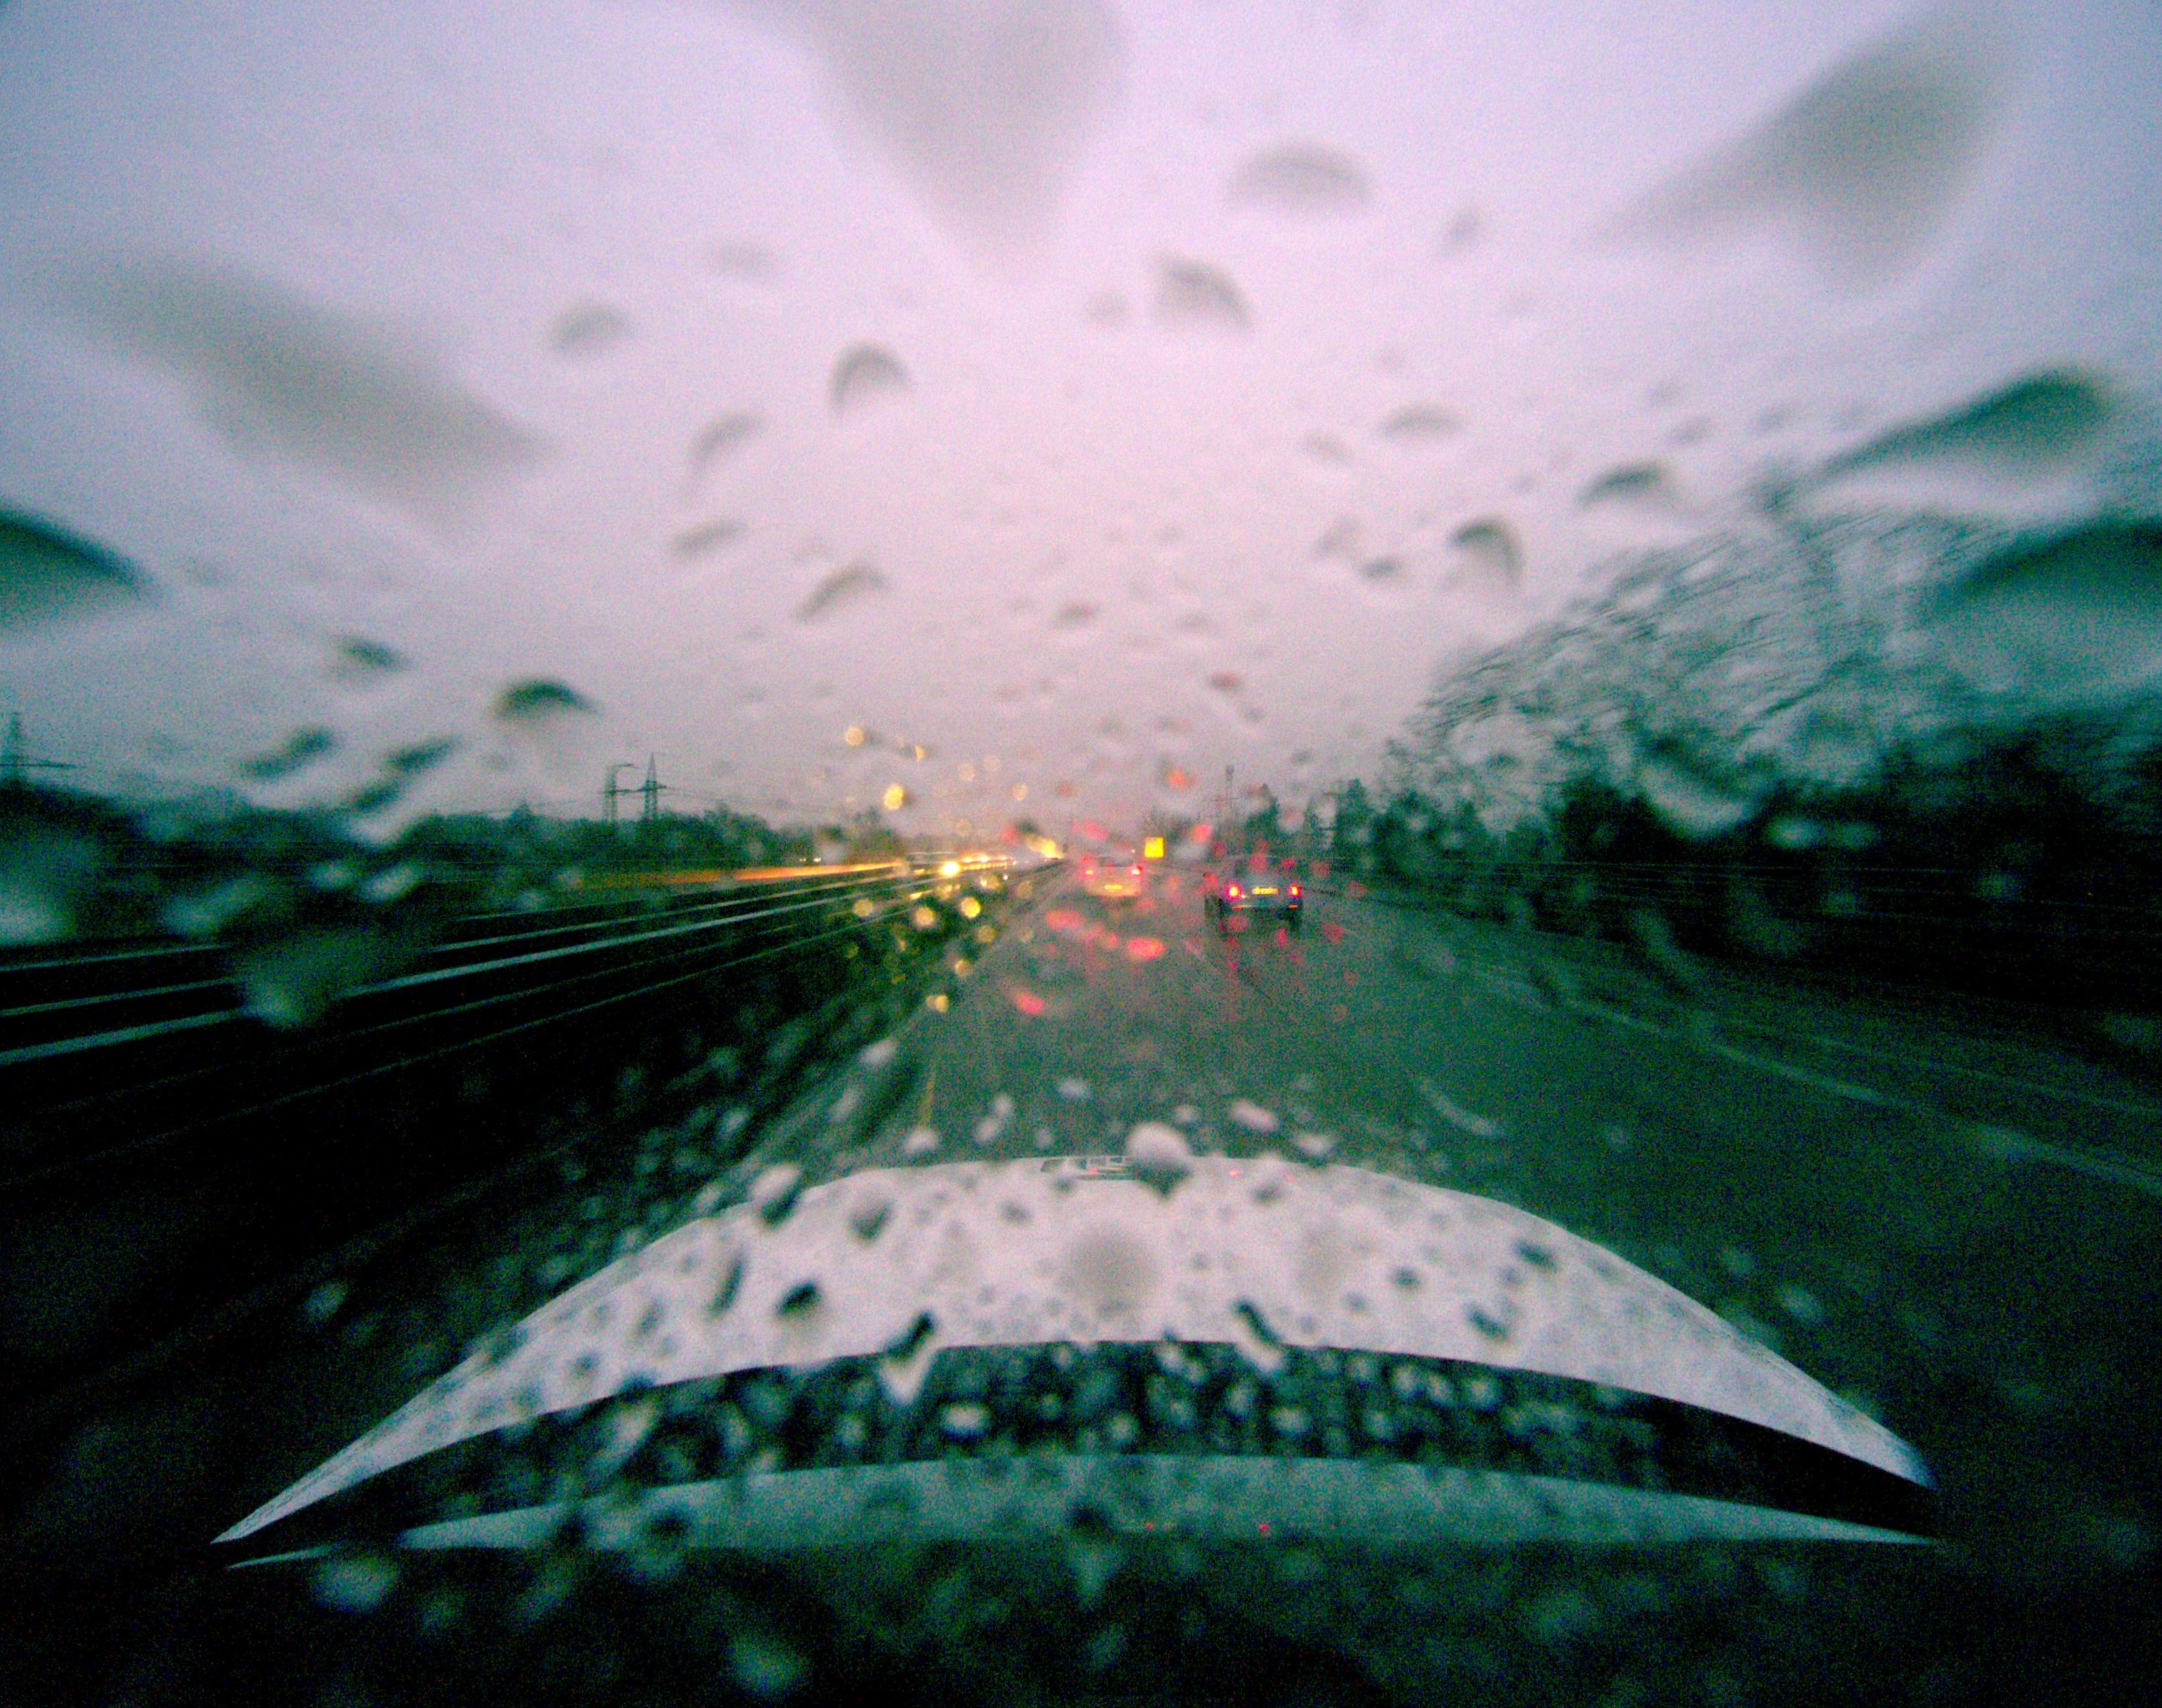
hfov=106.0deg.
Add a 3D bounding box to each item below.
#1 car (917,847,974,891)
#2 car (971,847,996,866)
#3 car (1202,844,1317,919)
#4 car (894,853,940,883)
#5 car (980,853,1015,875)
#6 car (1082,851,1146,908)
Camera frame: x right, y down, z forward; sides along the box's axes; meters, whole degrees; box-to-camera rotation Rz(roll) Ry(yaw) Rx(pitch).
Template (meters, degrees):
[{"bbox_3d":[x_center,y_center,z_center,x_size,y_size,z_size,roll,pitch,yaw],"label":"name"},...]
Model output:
[{"bbox_3d":[-6.615,0.668,40.143,1.957,2.053,4.375,0,0,2],"label":"car"},{"bbox_3d":[-9.173,0.215,76.831,1.736,1.815,4.001,0,0,1],"label":"car"},{"bbox_3d":[3.861,0.531,18.295,1.838,1.453,4.151,-1,1,2],"label":"car"},{"bbox_3d":[-9.539,0.784,47.618,1.849,1.566,3.923,-1,1,1],"label":"car"},{"bbox_3d":[-5.946,0.702,58.579,1.957,1.502,4.375,0,0,2],"label":"car"},{"bbox_3d":[0.991,0.733,25.605,1.839,1.636,3.768,0,0,1],"label":"car"}]
